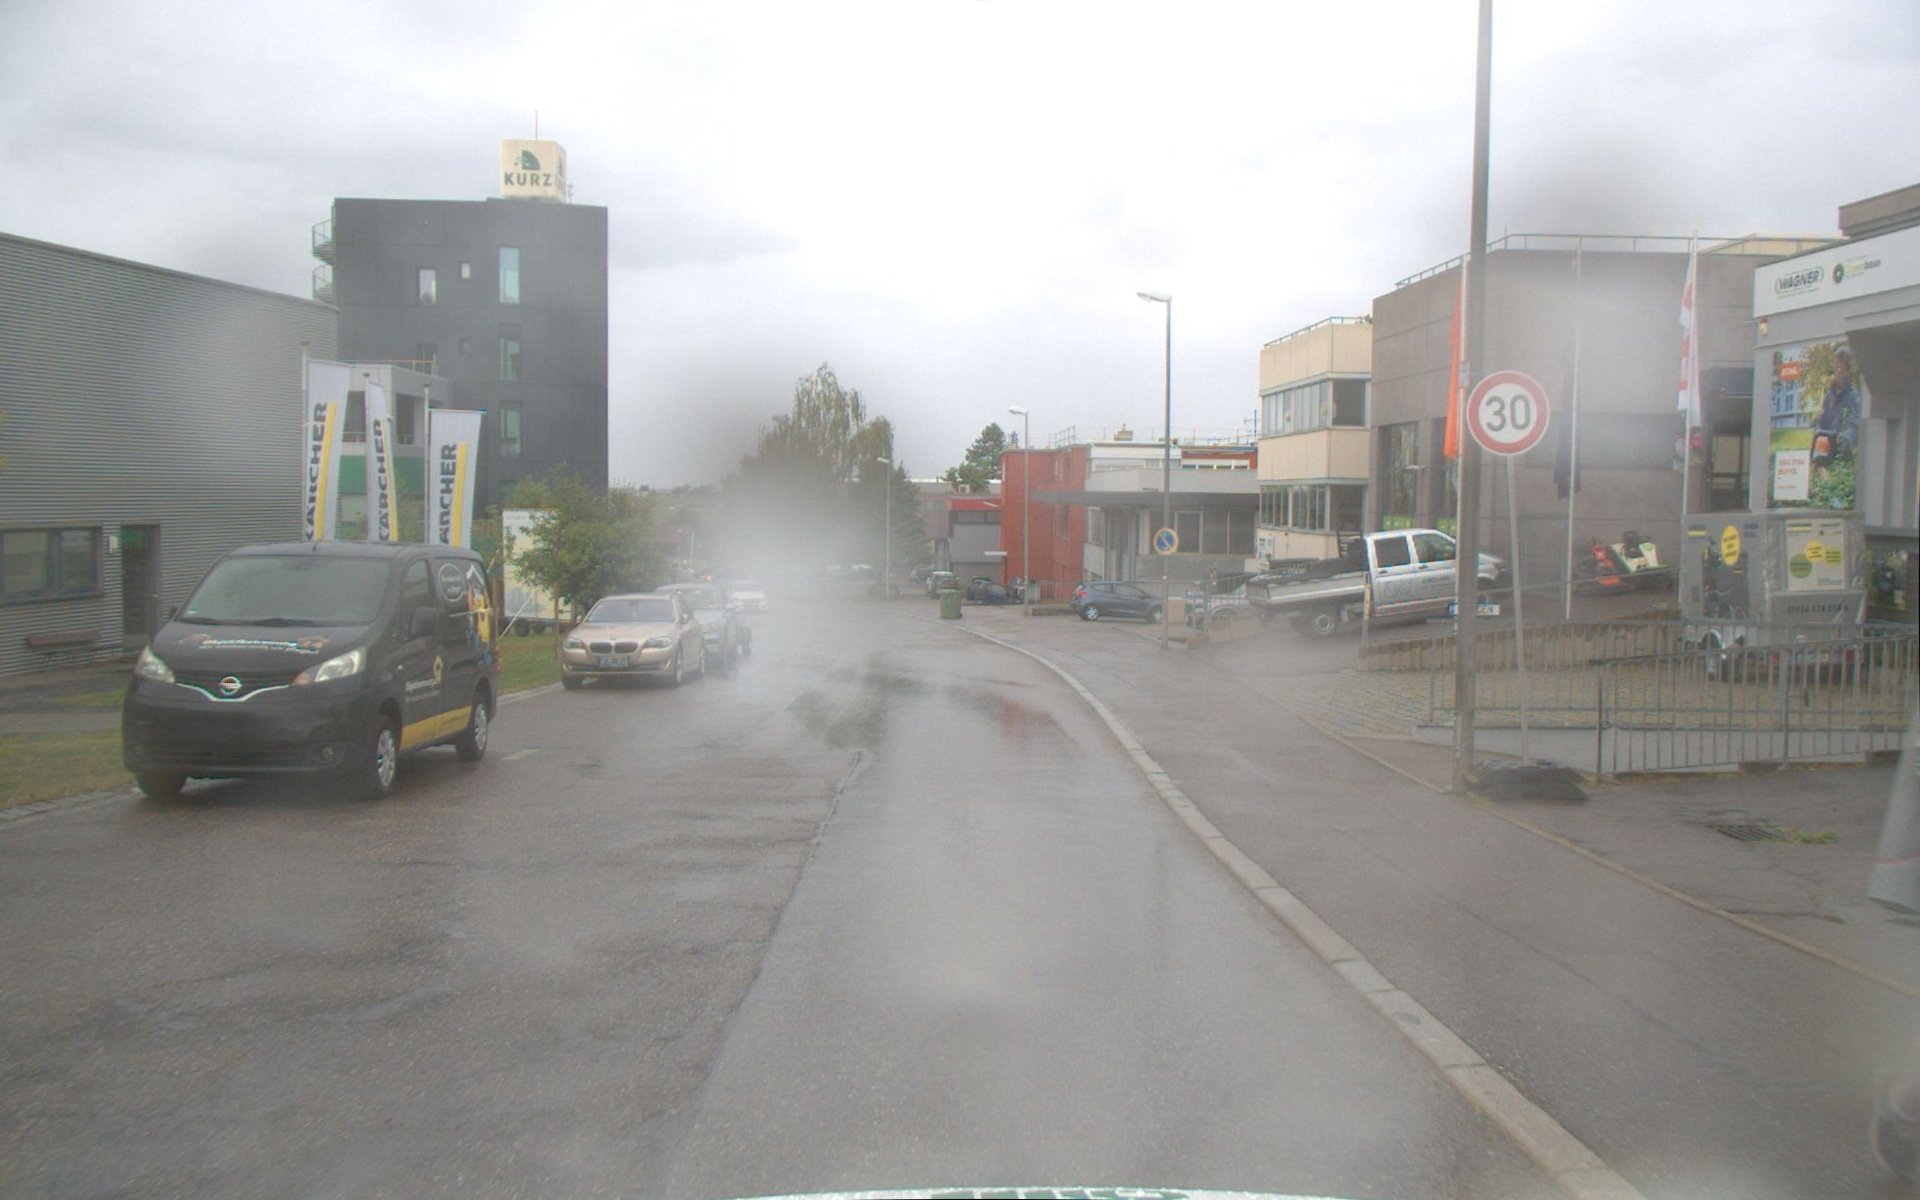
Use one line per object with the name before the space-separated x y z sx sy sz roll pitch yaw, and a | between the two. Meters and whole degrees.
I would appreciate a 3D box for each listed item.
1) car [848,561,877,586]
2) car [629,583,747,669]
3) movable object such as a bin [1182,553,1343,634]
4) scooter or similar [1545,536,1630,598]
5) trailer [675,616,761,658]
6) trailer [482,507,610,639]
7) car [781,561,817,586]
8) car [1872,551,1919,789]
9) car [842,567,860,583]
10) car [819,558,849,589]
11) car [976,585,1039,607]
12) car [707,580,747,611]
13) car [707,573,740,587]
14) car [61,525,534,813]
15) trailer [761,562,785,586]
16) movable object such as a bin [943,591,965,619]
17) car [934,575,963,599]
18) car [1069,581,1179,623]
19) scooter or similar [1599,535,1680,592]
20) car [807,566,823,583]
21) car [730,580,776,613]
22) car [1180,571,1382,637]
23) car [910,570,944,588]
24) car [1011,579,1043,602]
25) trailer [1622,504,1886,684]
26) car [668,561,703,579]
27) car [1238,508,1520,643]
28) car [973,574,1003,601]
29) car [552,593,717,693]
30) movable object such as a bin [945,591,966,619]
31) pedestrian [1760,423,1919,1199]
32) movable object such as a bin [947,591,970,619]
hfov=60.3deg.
car | -8.335 -2.254 141.117 2.106 2.049 3.931 0 0 -9
car | -5.526 0.511 34.138 1.918 1.604 4.836 -1 0 -4
movable object such as a bin | 8.423 -0.198 46.225 4.168 2.147 1.476 -1 1 -2
scooter or similar | 13.807 -0.746 36.475 1.043 1.245 2.065 -4 2 1
trailer | -5.588 0.838 38.518 1.647 0.904 3.894 0 0 -3
trailer | -13.929 -0.886 55.599 4.103 4.276 1.999 -1 0 36
car | -13.614 -2.211 139.441 2.229 2.049 3.980 0 0 -18
car | 8.469 0.380 10.671 4.038 1.601 2.002 -3 0 -3
car | -9.699 -2.209 146.673 1.372 1.349 2.695 0 0 -9
car | -10.687 -2.249 140.022 2.153 2.502 3.990 0 0 -11
car | 2.507 -0.215 87.872 3.331 1.183 1.791 0 1 -1
car | -13.061 -0.258 92.589 1.672 1.637 3.984 -2 2 -15
car | -26.403 -2.220 184.268 2.433 1.566 3.961 0 0 -29
car | -4.912 0.436 13.132 1.876 1.863 4.847 0 0 -1
trailer | -16.222 -2.219 143.320 1.819 2.049 3.991 0 1 -10
movable object such as a bin | -0.237 0.183 66.341 0.794 1.109 0.540 -1 1 -8
car | -0.739 -0.828 105.561 1.663 1.501 3.998 0 0 -3
car | 6.029 0.074 61.107 3.817 1.408 1.820 1 0 -3
scooter or similar | 15.001 -0.798 36.576 0.983 1.175 1.845 -4 1 1
car | -12.742 -2.217 145.520 1.266 1.449 2.541 0 0 -9
car | -10.256 -0.152 81.711 1.740 1.539 4.130 -1 0 -14
car | 8.552 0.086 44.338 4.990 1.642 1.924 -1 1 -3
car | -2.536 -1.597 127.594 2.500 1.375 1.240 0 1 -8
car | 4.238 -0.604 105.486 1.694 1.446 3.998 0 0 -3
trailer | 11.740 -0.139 24.821 1.848 2.458 4.308 0 1 -1
car | -36.173 -3.975 217.771 4.151 2.264 2.001 -1 0 3
car | 8.805 -0.504 35.090 5.196 2.047 2.221 -8 0 -3
car | 1.766 -0.759 106.356 1.704 1.682 3.998 0 0 -3
car | -5.336 0.642 27.765 1.916 1.486 5.245 0 0 -2
movable object such as a bin | -0.178 0.192 65.769 0.760 1.094 0.582 -1 1 -8
pedestrian | 2.420 0.519 3.853 0.721 1.798 0.808 0 0 -1
movable object such as a bin | -0.055 0.194 65.127 0.791 1.111 0.708 -1 1 -8
